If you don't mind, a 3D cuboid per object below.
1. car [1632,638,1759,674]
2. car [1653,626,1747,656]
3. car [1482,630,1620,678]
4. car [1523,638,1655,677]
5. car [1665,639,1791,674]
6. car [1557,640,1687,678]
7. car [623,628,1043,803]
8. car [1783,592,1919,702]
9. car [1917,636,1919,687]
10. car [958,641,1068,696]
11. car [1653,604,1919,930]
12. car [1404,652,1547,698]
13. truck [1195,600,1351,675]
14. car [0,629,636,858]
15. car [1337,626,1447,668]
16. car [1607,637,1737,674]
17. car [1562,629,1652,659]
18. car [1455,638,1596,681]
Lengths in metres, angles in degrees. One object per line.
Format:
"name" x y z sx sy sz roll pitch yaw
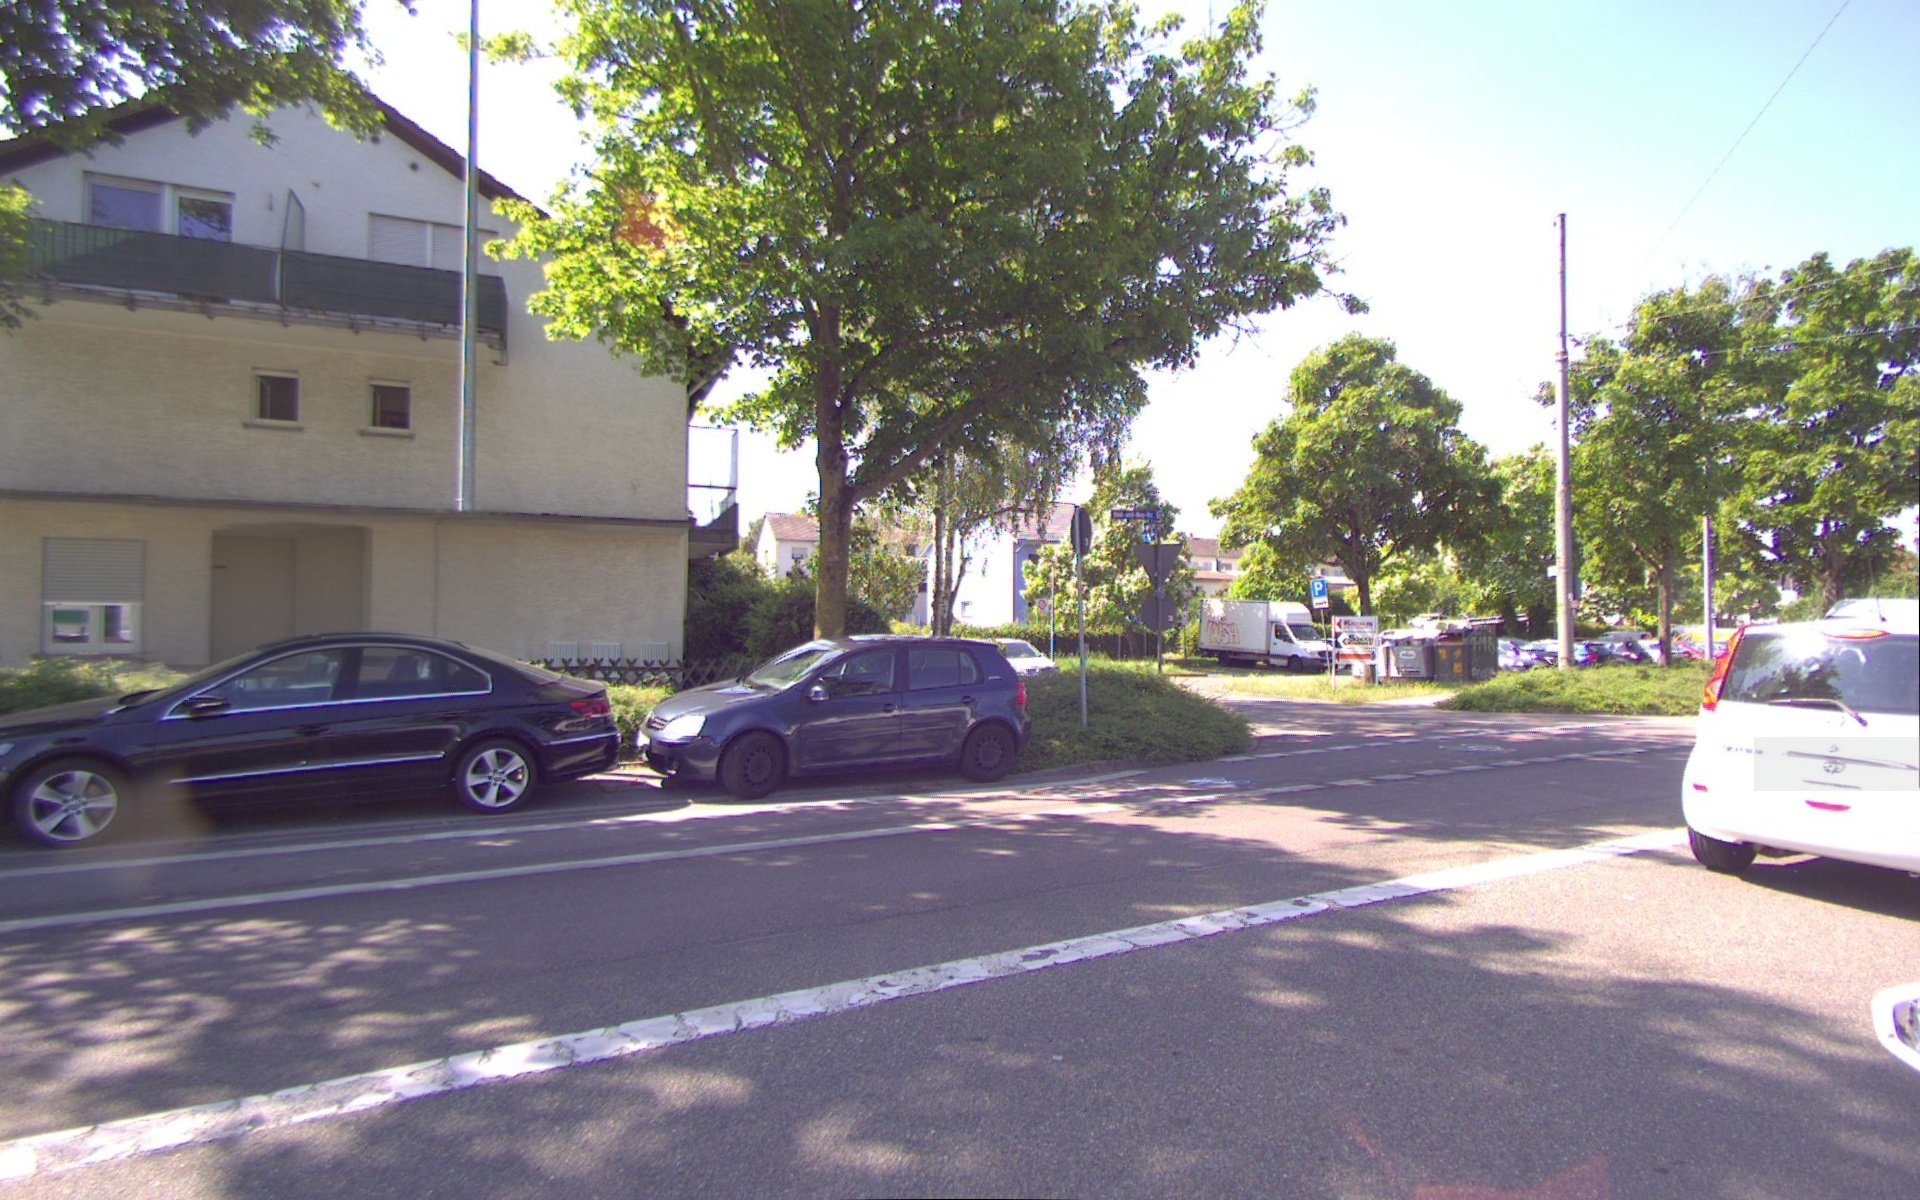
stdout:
"car" 30.734 2.339 42.081 1.712 1.434 3.964 2 -4 -33
"car" 50.613 2.785 68.768 2.043 1.811 4.762 2 0 -34
"car" 21.408 1.976 36.504 1.712 1.631 3.964 2 -4 -33
"car" 24.164 2.218 38.711 1.712 1.434 3.964 2 -4 -33
"car" 33.156 2.452 43.451 1.712 1.434 3.964 2 -4 -33
"car" 26.345 2.334 40.092 1.712 1.434 3.964 2 -4 -33
"car" -1.285 1.070 10.446 3.988 1.462 1.718 1 0 -28
"car" 23.788 1.146 25.772 5.745 2.550 2.114 1 0 -29
"car" 29.335 1.789 28.666 4.230 1.434 1.854 1 0 -31
"car" 1.406 1.919 28.436 1.704 1.434 3.983 1 -3 -20
"car" 6.403 0.848 6.254 4.491 1.568 1.655 1 -1 -29
"car" 17.317 2.493 33.895 1.712 1.434 3.964 2 -4 -33
"truck" 14.409 1.619 46.834 2.646 3.151 6.967 1 0 -30
"car" -5.232 1.005 8.323 4.568 1.434 1.854 1 0 -31
"car" 21.730 2.331 50.736 2.043 1.811 4.762 2 0 -34
"car" 28.823 2.249 40.780 1.712 1.434 3.964 2 -4 -33
"car" 44.540 2.998 69.247 2.043 1.811 4.762 2 0 -34
"car" 19.689 2.079 35.119 1.712 1.434 3.964 2 -4 -33
